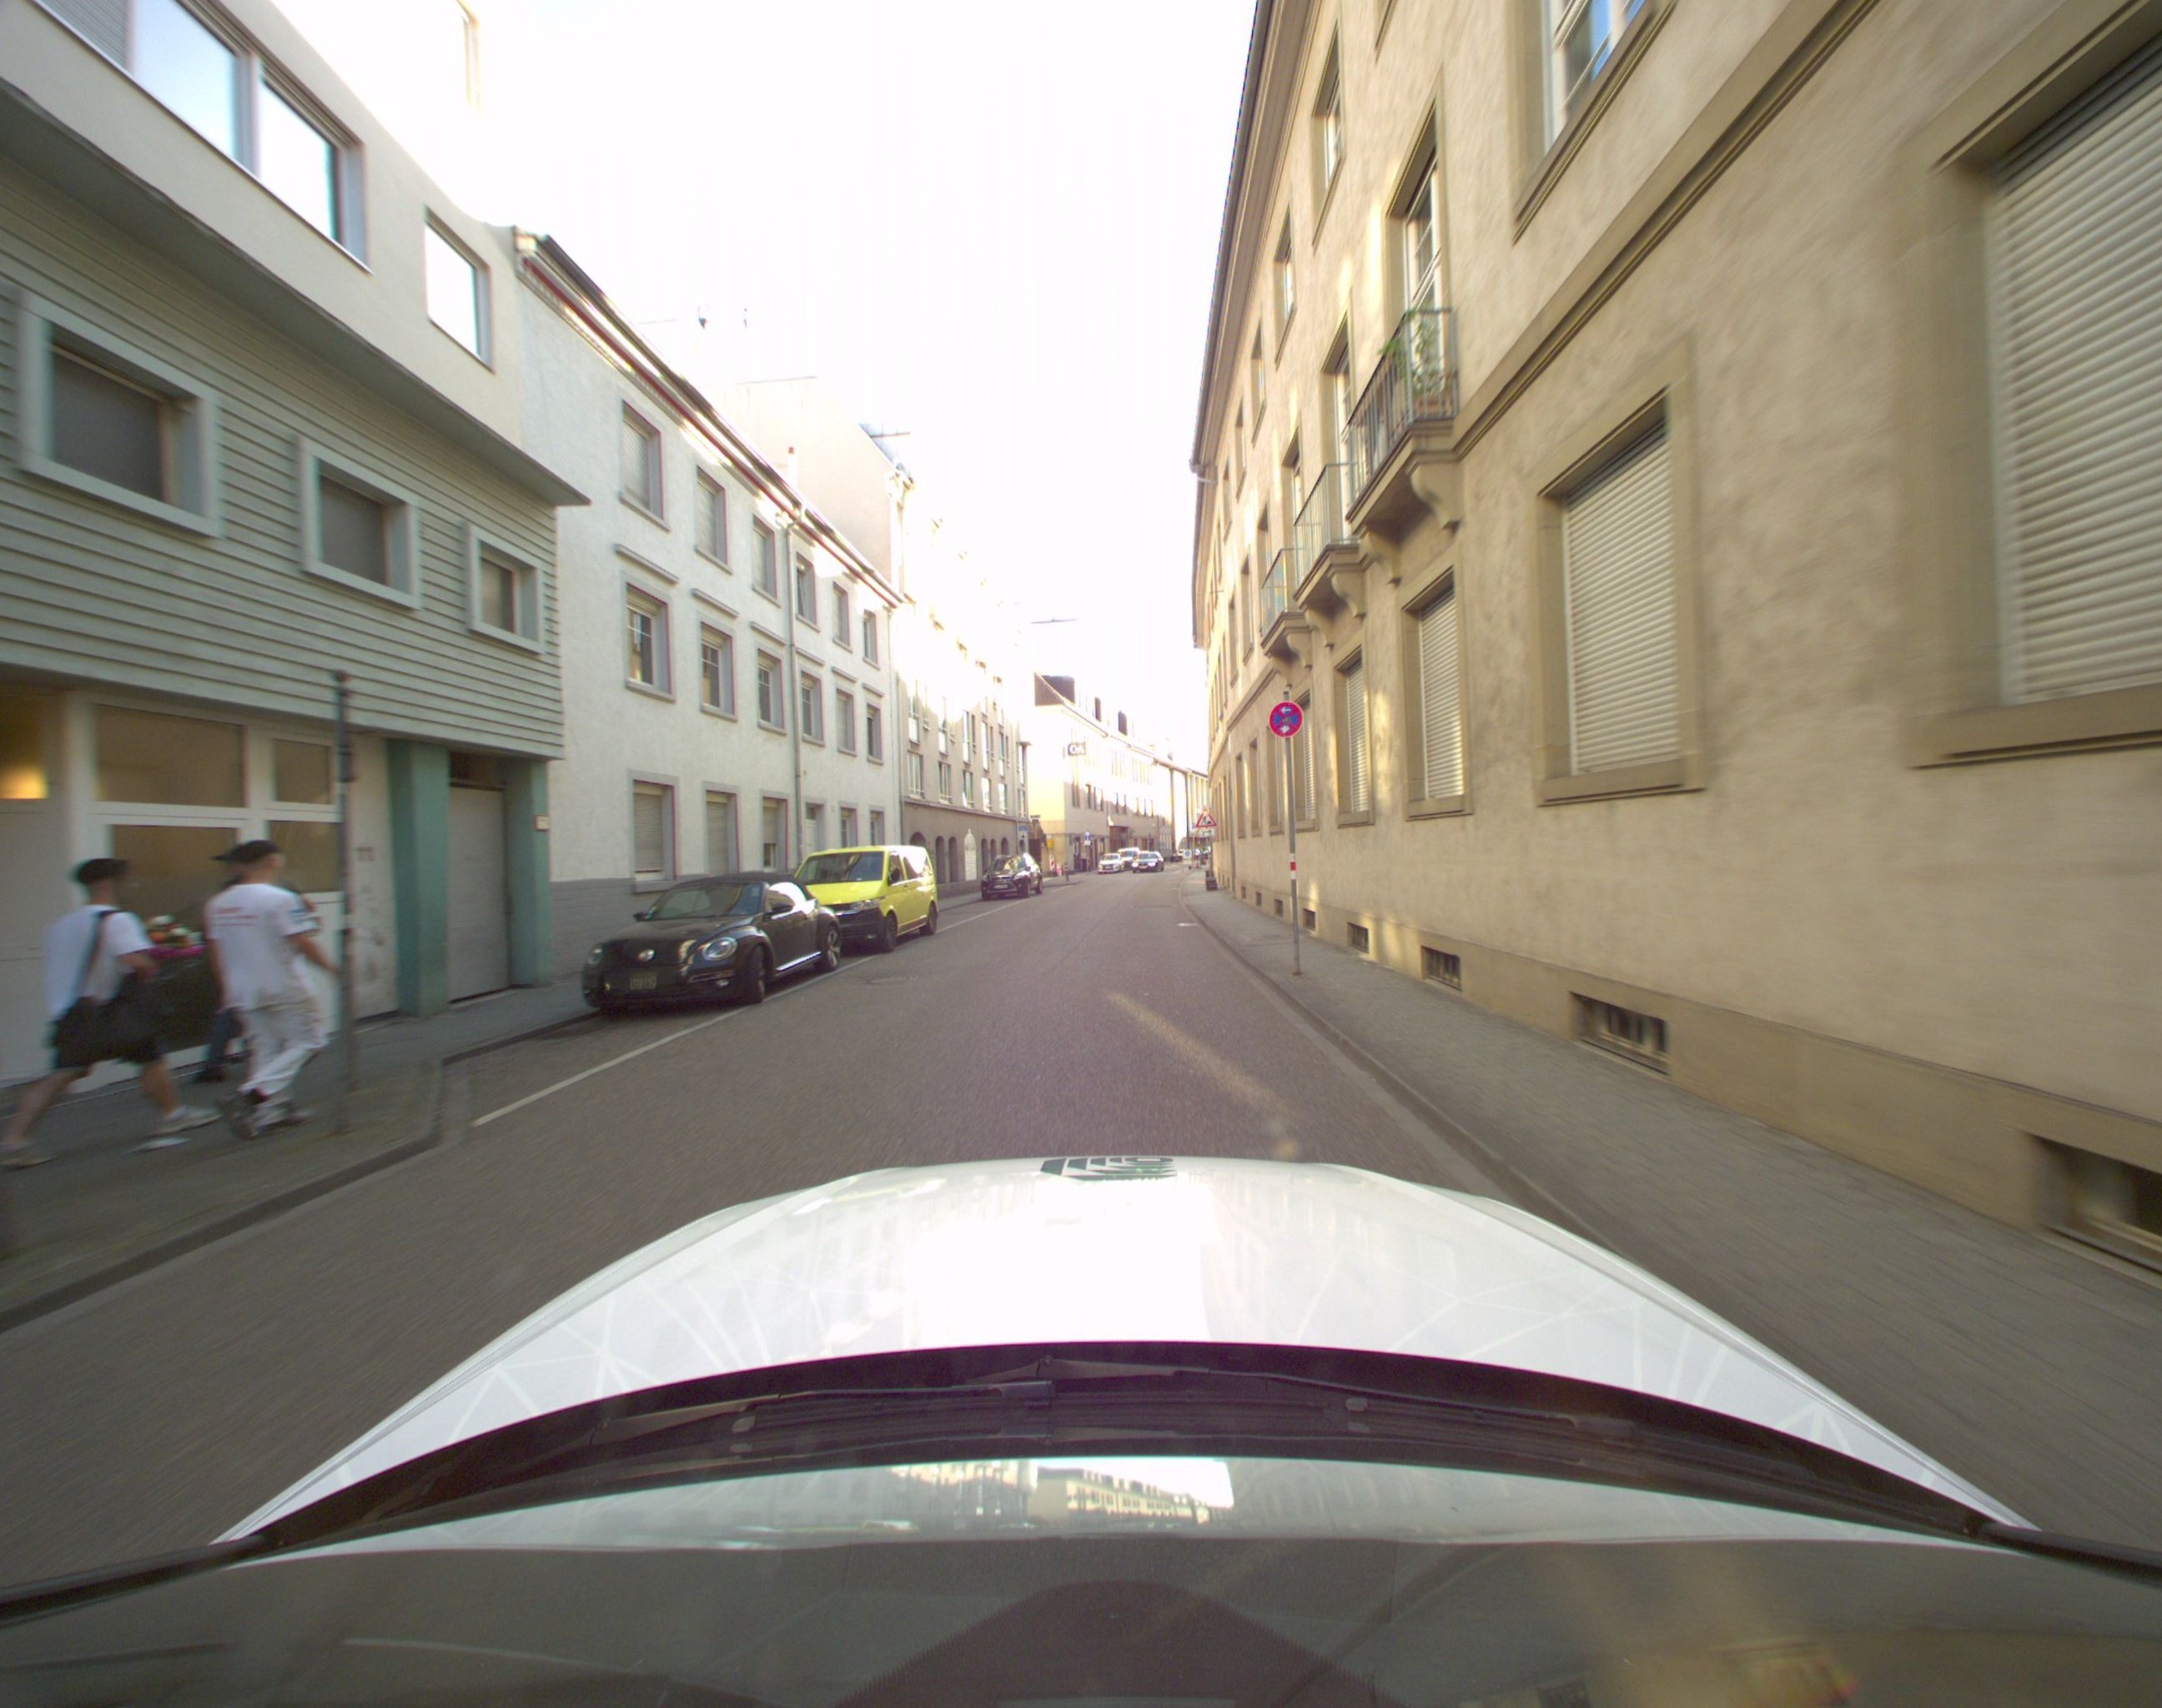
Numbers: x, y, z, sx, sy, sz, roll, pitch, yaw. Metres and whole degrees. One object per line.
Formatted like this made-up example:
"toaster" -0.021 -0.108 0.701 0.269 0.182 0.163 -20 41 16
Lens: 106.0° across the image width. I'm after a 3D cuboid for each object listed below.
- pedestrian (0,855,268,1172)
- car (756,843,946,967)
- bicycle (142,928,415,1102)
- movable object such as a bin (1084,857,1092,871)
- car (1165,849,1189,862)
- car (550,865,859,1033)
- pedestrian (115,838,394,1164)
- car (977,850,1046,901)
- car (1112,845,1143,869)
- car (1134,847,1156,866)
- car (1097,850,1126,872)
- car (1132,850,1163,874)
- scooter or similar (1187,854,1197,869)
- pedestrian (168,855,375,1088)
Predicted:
"pedestrian" -5.660 0.861 4.826 0.670 1.669 0.895 -4 0 2
"car" -4.147 0.817 15.681 1.872 1.866 4.868 -5 0 3
"bicycle" -6.565 1.240 6.655 2.109 1.163 0.828 -3 0 24
"movable object such as a bin" 0.540 0.806 63.987 0.605 1.060 0.714 0 0 6
"car" 11.098 0.142 94.277 1.866 1.332 4.120 -3 0 18
"car" -4.389 0.997 10.323 1.812 1.486 4.078 -5 0 1
"pedestrian" -4.866 0.802 4.862 0.695 1.734 0.829 -4 0 2
"car" -2.661 0.774 32.197 1.730 1.711 4.199 -5 0 7
"car" 3.933 0.235 68.271 1.658 1.818 4.570 -4 0 14
"car" 5.820 0.200 74.265 1.262 1.507 3.416 -4 0 15
"car" 2.378 0.527 62.556 1.660 1.507 3.804 -4 0 9
"car" 4.797 0.549 59.130 1.710 1.578 4.188 -3 0 -1
"scooter or similar" 8.593 0.568 63.001 0.766 1.136 0.270 0 0 11
"pedestrian" -6.610 0.900 6.669 1.068 1.728 0.806 -3 0 24
